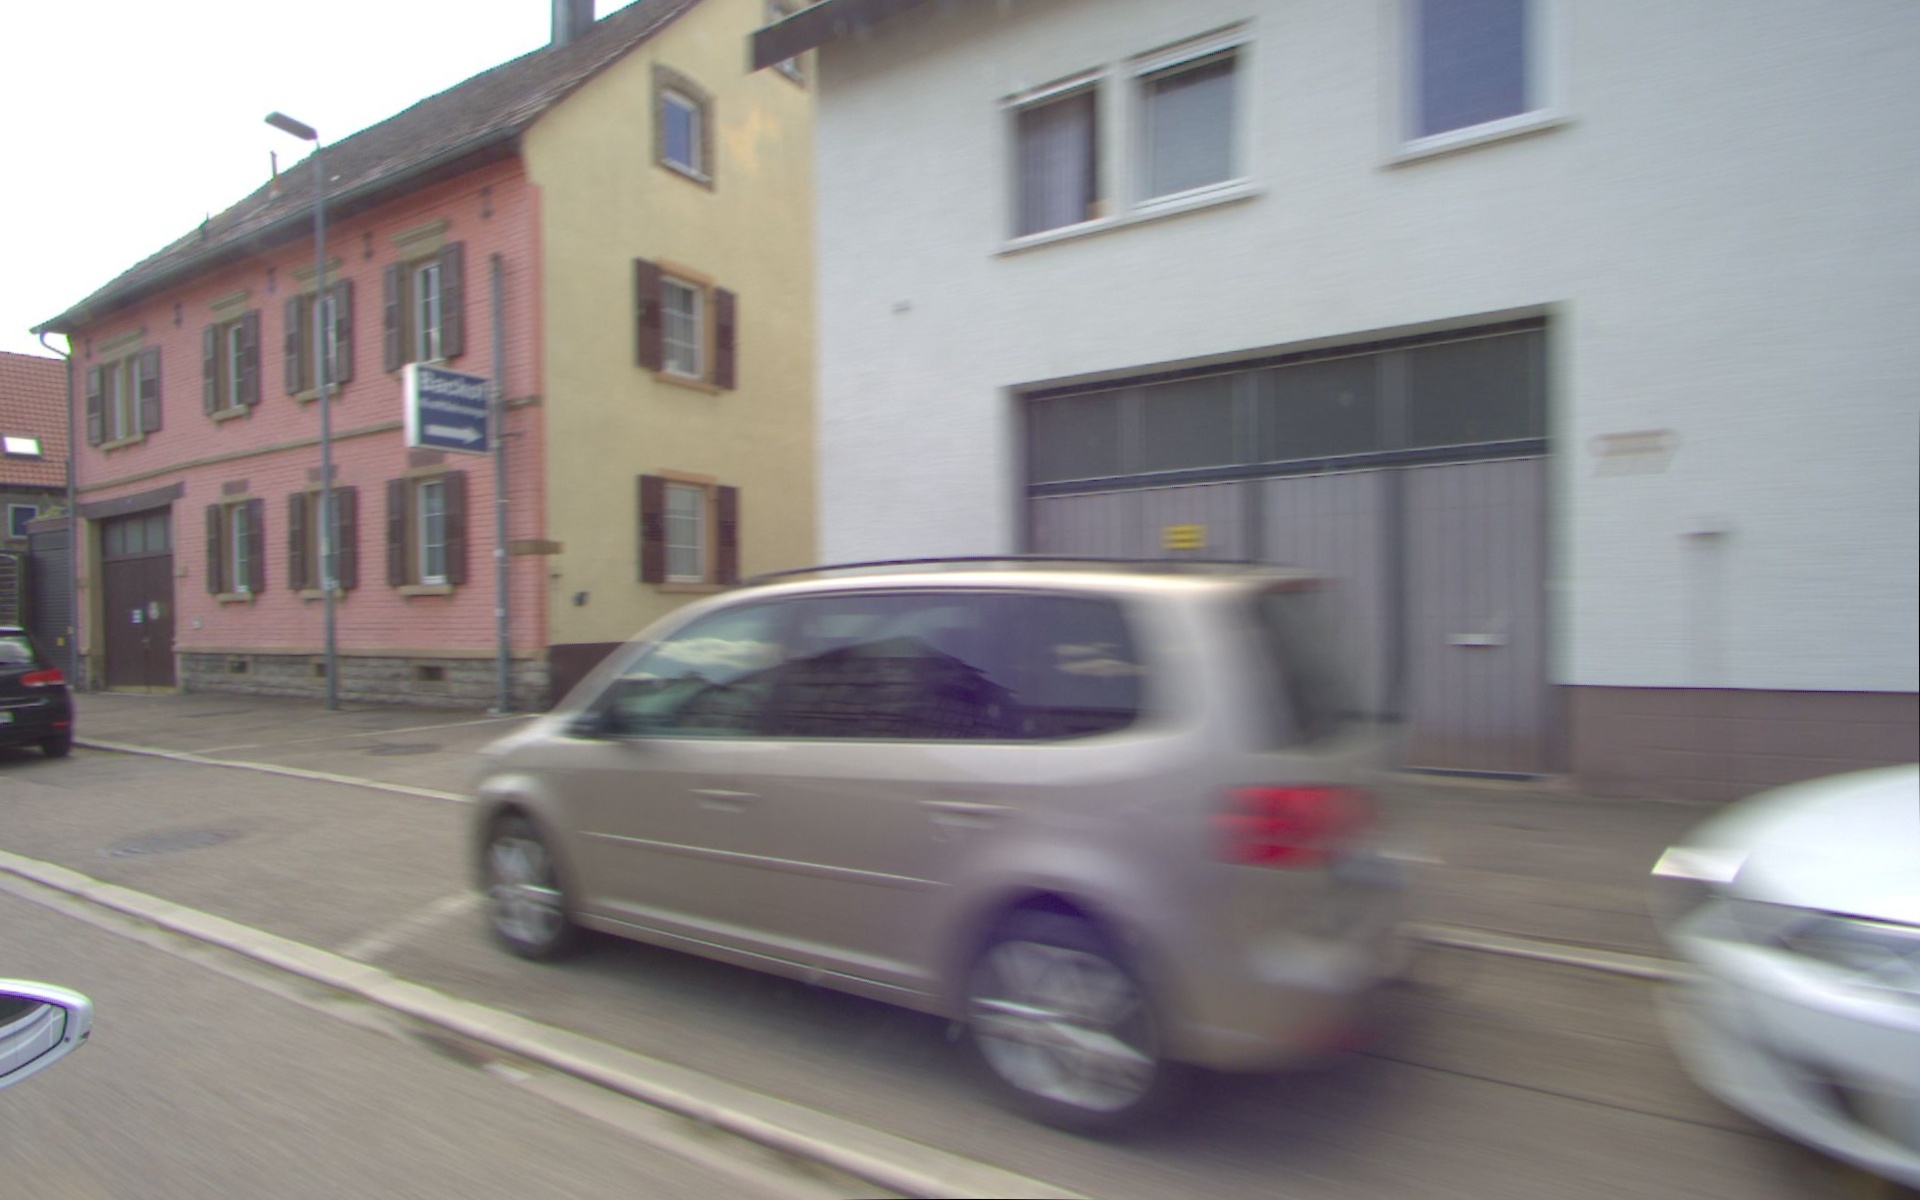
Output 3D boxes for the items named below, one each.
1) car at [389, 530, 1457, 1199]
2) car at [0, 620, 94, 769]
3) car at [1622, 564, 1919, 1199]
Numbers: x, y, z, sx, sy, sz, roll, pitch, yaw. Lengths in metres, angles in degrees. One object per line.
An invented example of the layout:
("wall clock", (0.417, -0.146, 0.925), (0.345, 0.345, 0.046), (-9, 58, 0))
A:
("car", (-0.344, 0.717, 4.333), (4.263, 1.703, 1.988), (-1, 0, 34))
("car", (-11.622, 1.014, 11.293), (4.104, 1.515, 1.770), (-1, 0, 34))
("car", (3.945, 0.657, 1.922), (4.306, 1.537, 1.991), (-1, 0, 30))
